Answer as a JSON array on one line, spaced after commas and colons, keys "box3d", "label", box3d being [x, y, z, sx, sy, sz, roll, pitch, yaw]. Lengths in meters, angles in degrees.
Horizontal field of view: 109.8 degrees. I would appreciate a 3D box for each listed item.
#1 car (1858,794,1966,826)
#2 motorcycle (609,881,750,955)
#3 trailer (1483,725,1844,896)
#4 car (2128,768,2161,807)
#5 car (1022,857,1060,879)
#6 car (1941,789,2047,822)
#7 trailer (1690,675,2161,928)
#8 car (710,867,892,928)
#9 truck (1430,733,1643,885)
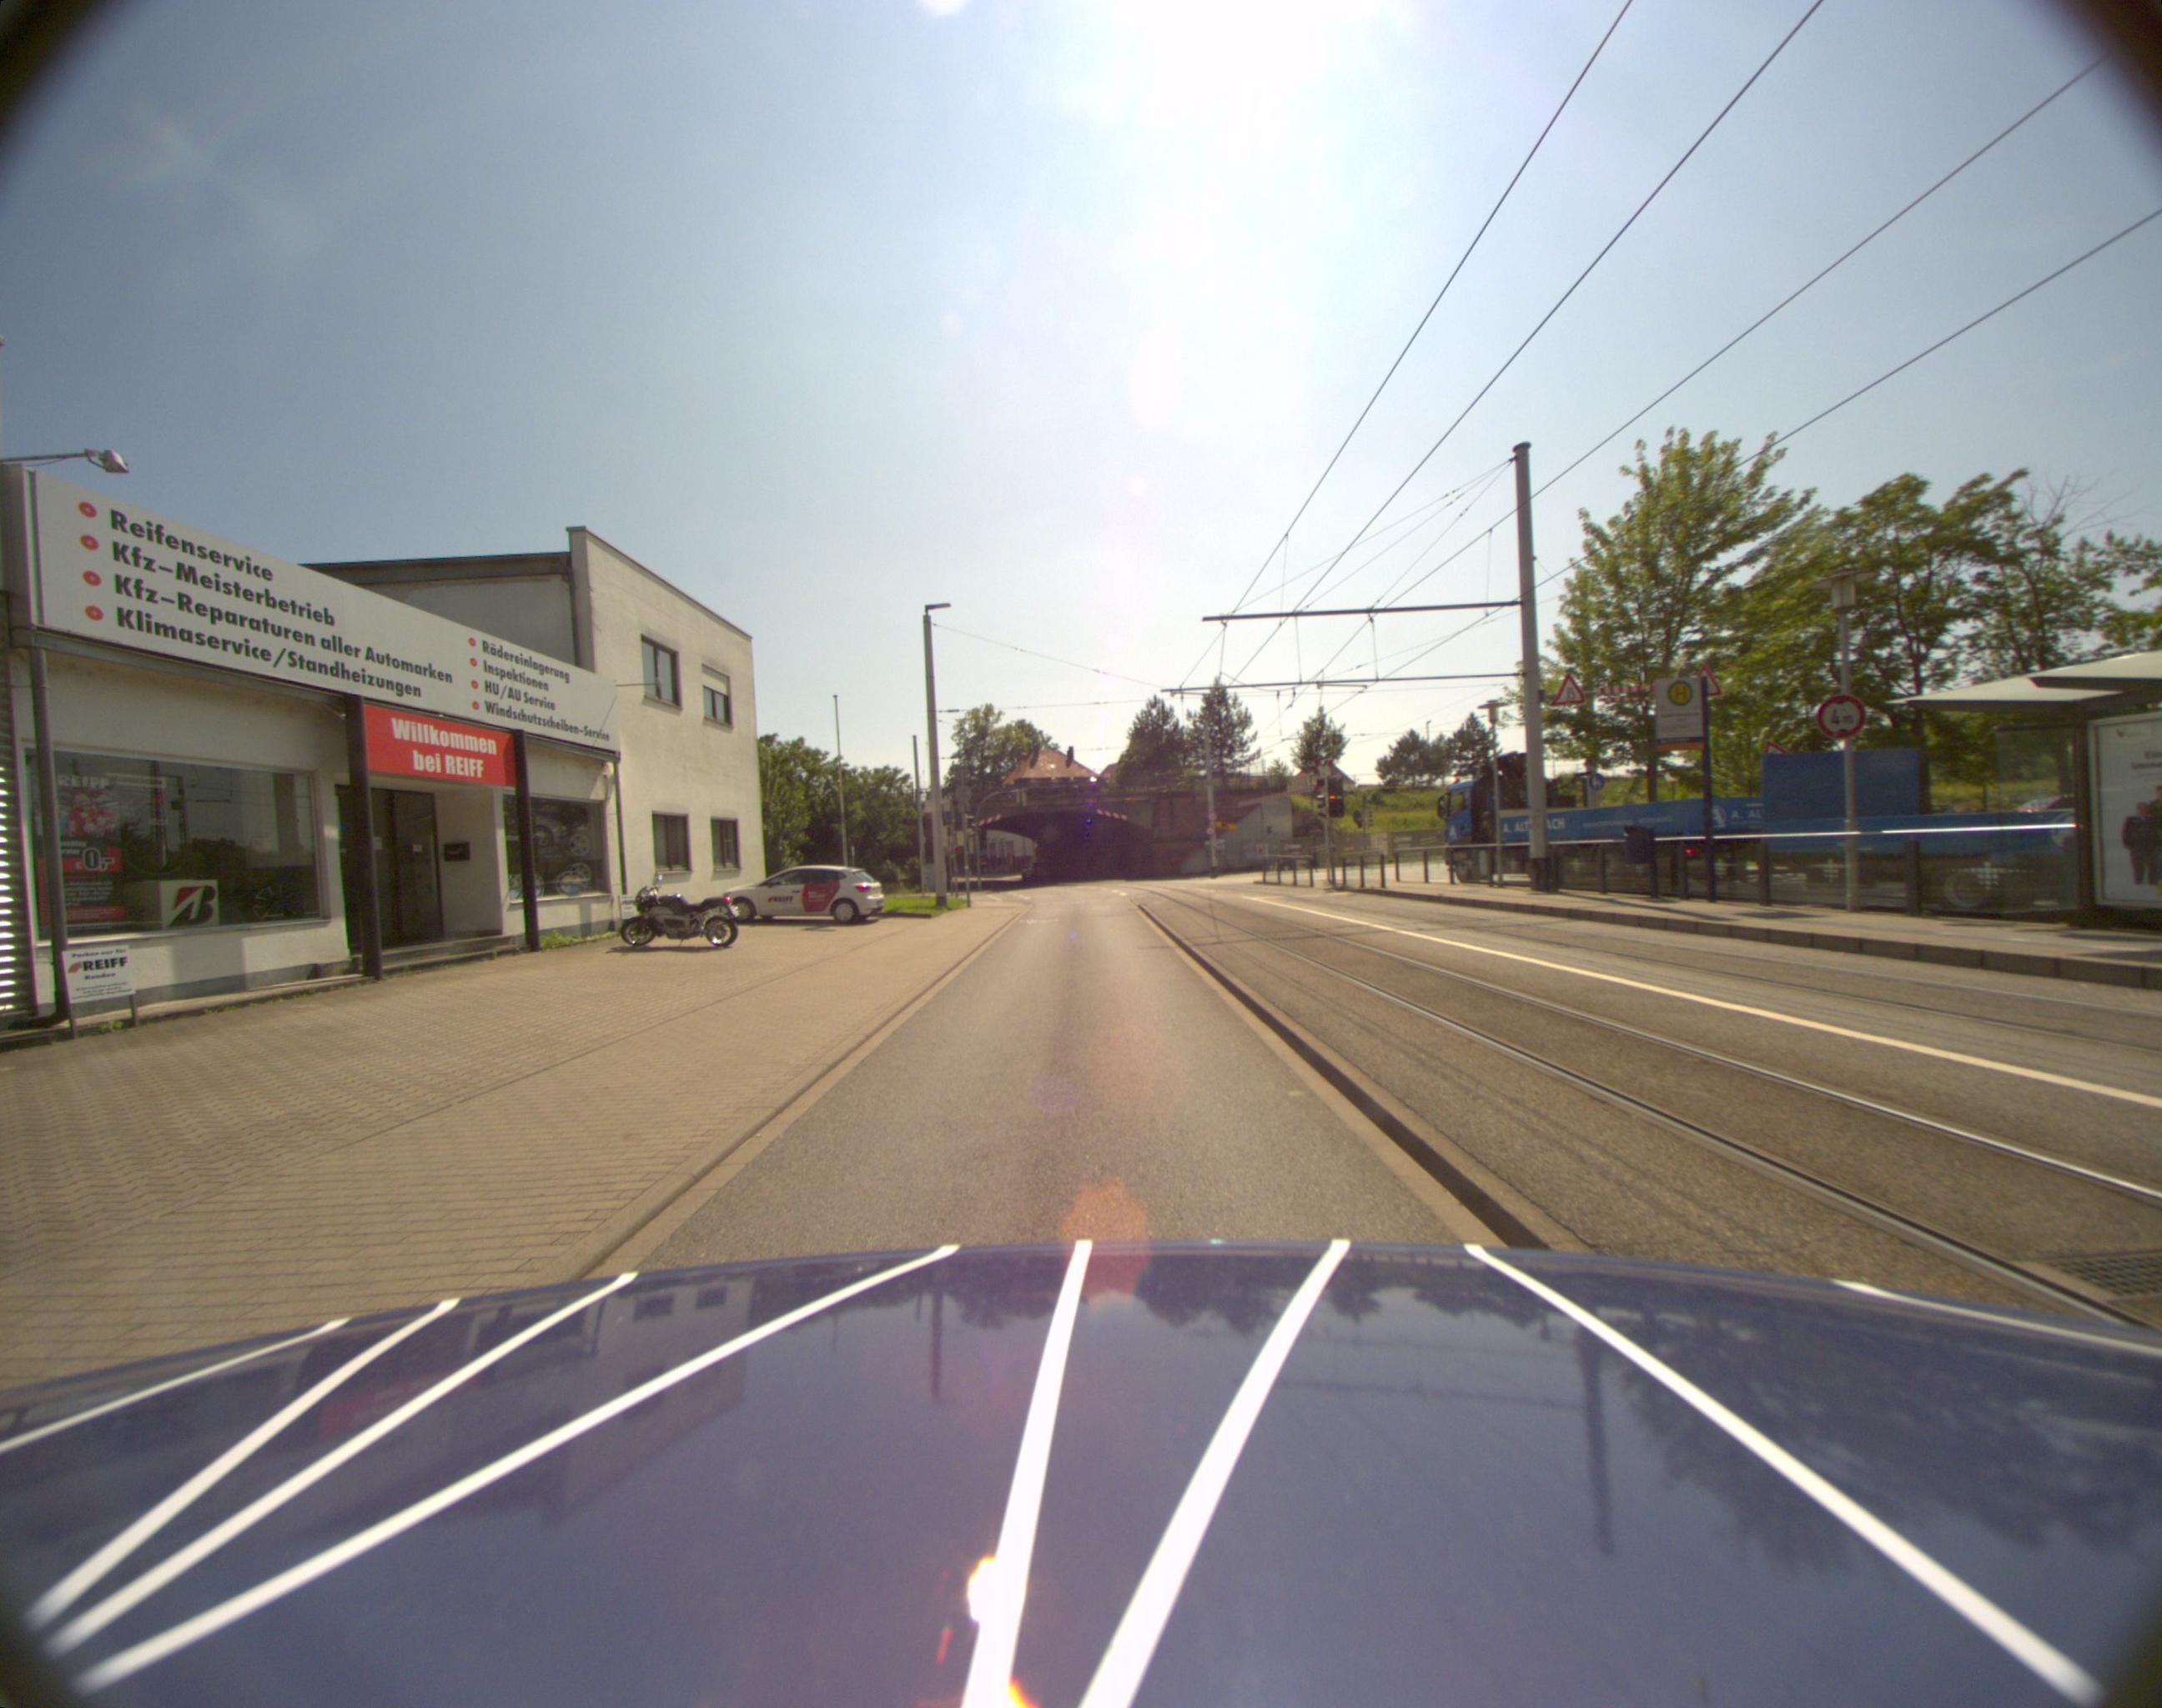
[{"box3d": [49.476, -2.595, 45.289, 4.366, 1.607, 1.847, -3, 3, 1], "label": "car"}, {"box3d": [-7.386, 1.164, 14.035, 2.189, 1.301, 0.731, 0, 1, -1], "label": "motorcycle"}, {"box3d": [12.418, -0.779, 17.257, 2.751, 2.960, 6.898, -3, 0, 0], "label": "trailer"}, {"box3d": [39.916, -2.524, 26.280, 1.720, 1.330, 3.985, -4, -1, -20], "label": "car"}, {"box3d": [-3.414, 1.201, 64.240, 1.824, 1.594, 4.300, -4, 0, -22], "label": "car"}, {"box3d": [53.810, -2.840, 44.830, 3.997, 1.607, 1.848, -3, 2, 1], "label": "car"}, {"box3d": [12.548, -0.602, 9.957, 2.804, 2.612, 7.600, -3, 0, -1], "label": "trailer"}, {"box3d": [-7.111, 1.079, 19.622, 3.997, 1.454, 1.889, 0, 0, -1], "label": "car"}, {"box3d": [12.372, -1.094, 21.234, 2.751, 3.587, 5.039, -3, 0, 0], "label": "truck"}]
